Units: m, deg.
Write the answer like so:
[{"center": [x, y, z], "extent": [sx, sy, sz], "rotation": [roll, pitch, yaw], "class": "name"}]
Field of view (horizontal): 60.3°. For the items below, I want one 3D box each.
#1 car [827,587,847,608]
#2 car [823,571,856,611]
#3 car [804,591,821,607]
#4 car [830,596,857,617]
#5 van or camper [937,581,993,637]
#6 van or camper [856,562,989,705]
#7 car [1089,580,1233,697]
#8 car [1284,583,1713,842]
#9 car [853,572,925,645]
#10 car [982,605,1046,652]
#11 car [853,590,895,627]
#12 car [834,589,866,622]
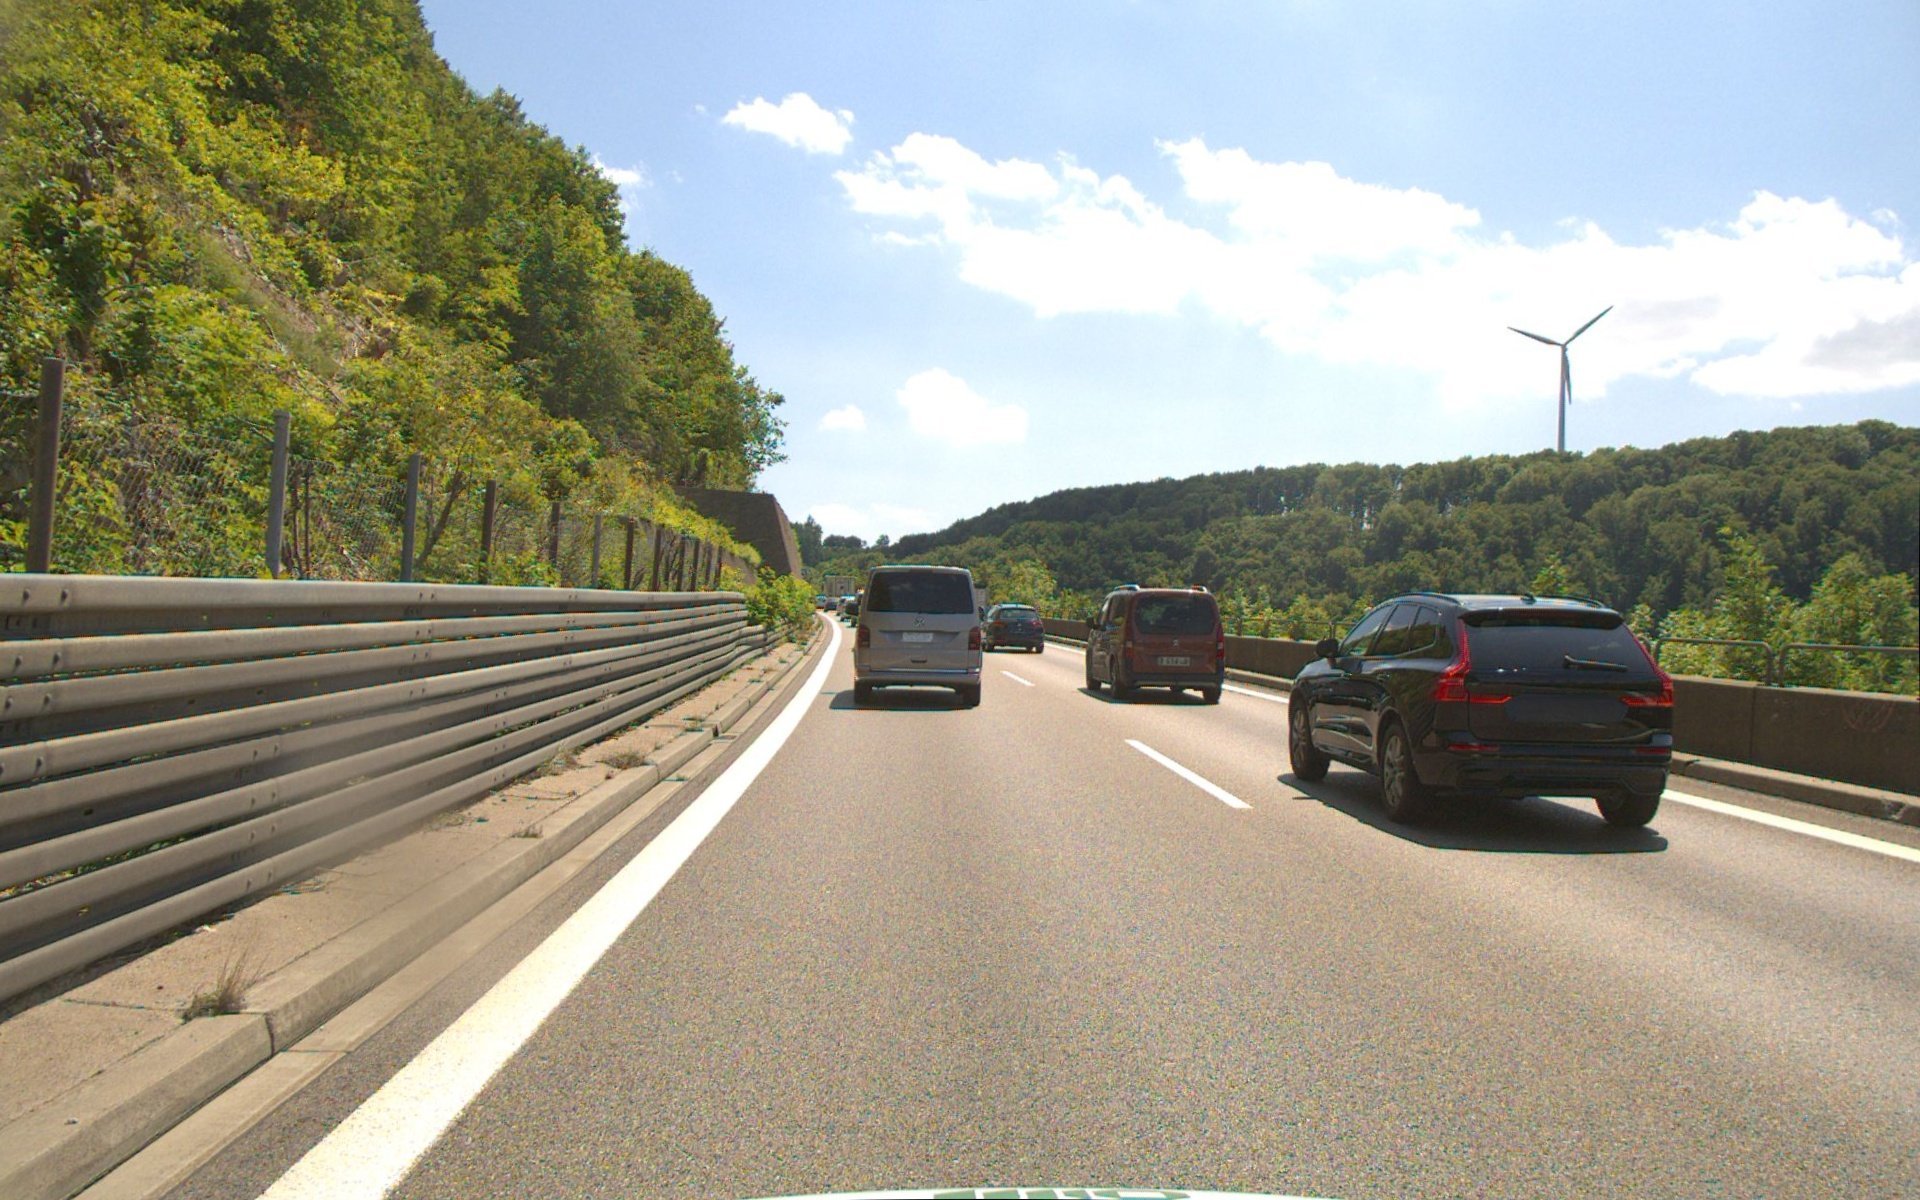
[{"center": [-12.052, -0.222, 162.220], "extent": [1.954, 2.049, 3.997], "rotation": [0, -1, -3], "class": "car"}, {"center": [-15.444, -1.174, 212.493], "extent": [3.963, 4.957, 10.102], "rotation": [1, 0, -4], "class": "car"}, {"center": [-16.085, -0.110, 180.243], "extent": [1.809, 1.780, 3.996], "rotation": [1, 0, -5], "class": "car"}, {"center": [-9.468, 0.541, 134.180], "extent": [2.101, 1.635, 5.073], "rotation": [1, 0, -4], "class": "car"}, {"center": [0.188, 0.411, 79.378], "extent": [2.220, 2.596, 4.731], "rotation": [0, 0, -6], "class": "van or camper"}, {"center": [-0.633, 0.481, 25.078], "extent": [1.838, 1.984, 4.291], "rotation": [0, -1, -3], "class": "van or camper"}, {"center": [3.338, 0.624, 28.306], "extent": [1.796, 1.815, 4.674], "rotation": [0, -1, -1], "class": "car"}, {"center": [3.986, 0.725, 13.161], "extent": [1.797, 1.662, 4.661], "rotation": [1, 0, -1], "class": "car"}, {"center": [-2.020, 0.249, 48.226], "extent": [1.953, 2.049, 3.999], "rotation": [0, 0, -1], "class": "car"}, {"center": [1.665, 0.883, 52.083], "extent": [1.733, 1.400, 3.591], "rotation": [1, 0, -2], "class": "car"}, {"center": [-4.542, 0.454, 86.800], "extent": [1.955, 1.849, 3.995], "rotation": [1, 0, -6], "class": "car"}, {"center": [-6.862, 0.351, 102.834], "extent": [1.954, 1.948, 3.996], "rotation": [1, 0, -5], "class": "car"}]
